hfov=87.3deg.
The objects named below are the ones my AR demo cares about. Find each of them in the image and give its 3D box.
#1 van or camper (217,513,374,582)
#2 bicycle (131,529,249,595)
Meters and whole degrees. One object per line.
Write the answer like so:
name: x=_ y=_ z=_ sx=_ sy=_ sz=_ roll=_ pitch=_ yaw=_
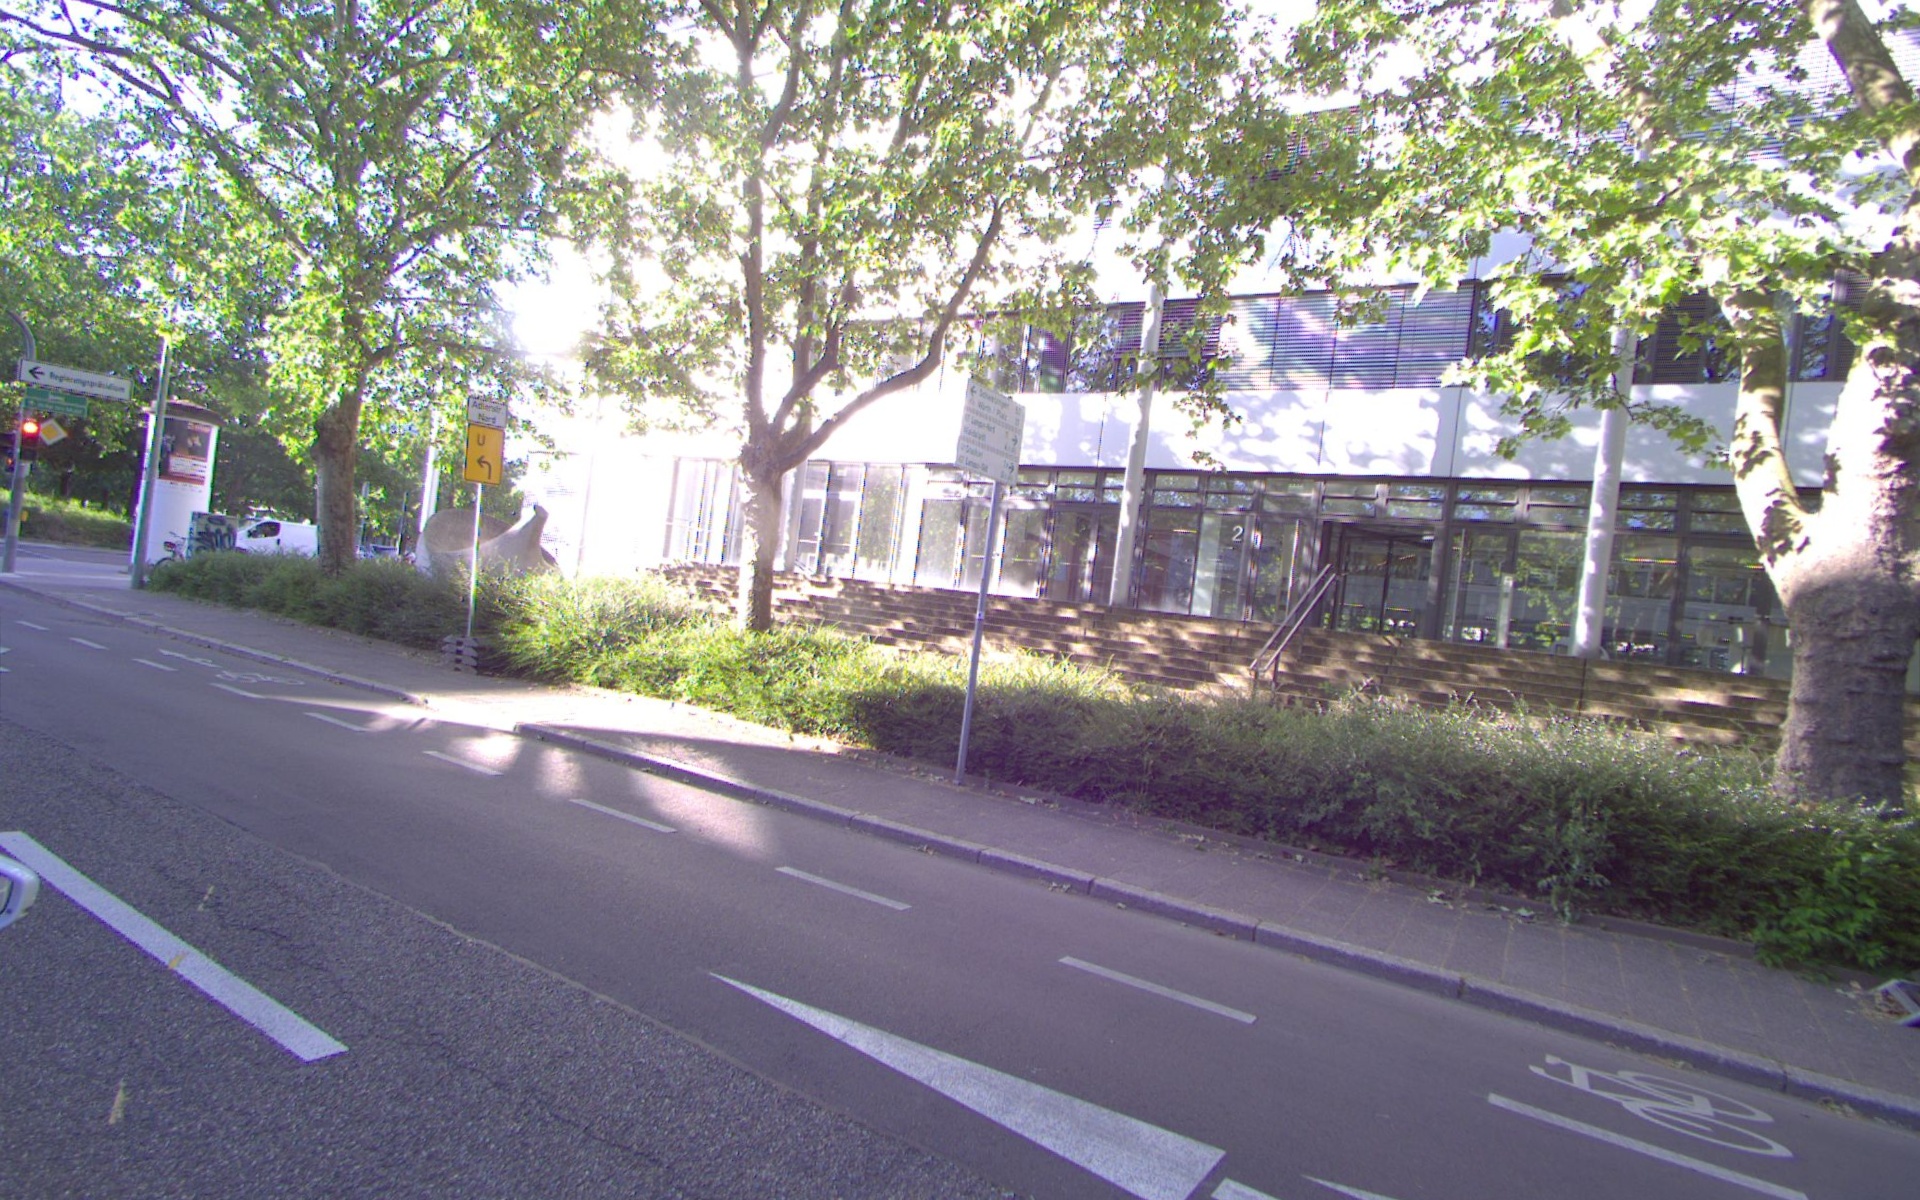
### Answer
van or camper: x=-25.864 y=-2.010 z=39.335 sx=1.966 sy=1.964 sz=4.589 roll=7 pitch=-1 yaw=29
bicycle: x=-16.011 y=-0.777 z=20.968 sx=0.502 sy=1.110 sz=1.806 roll=7 pitch=-1 yaw=34
